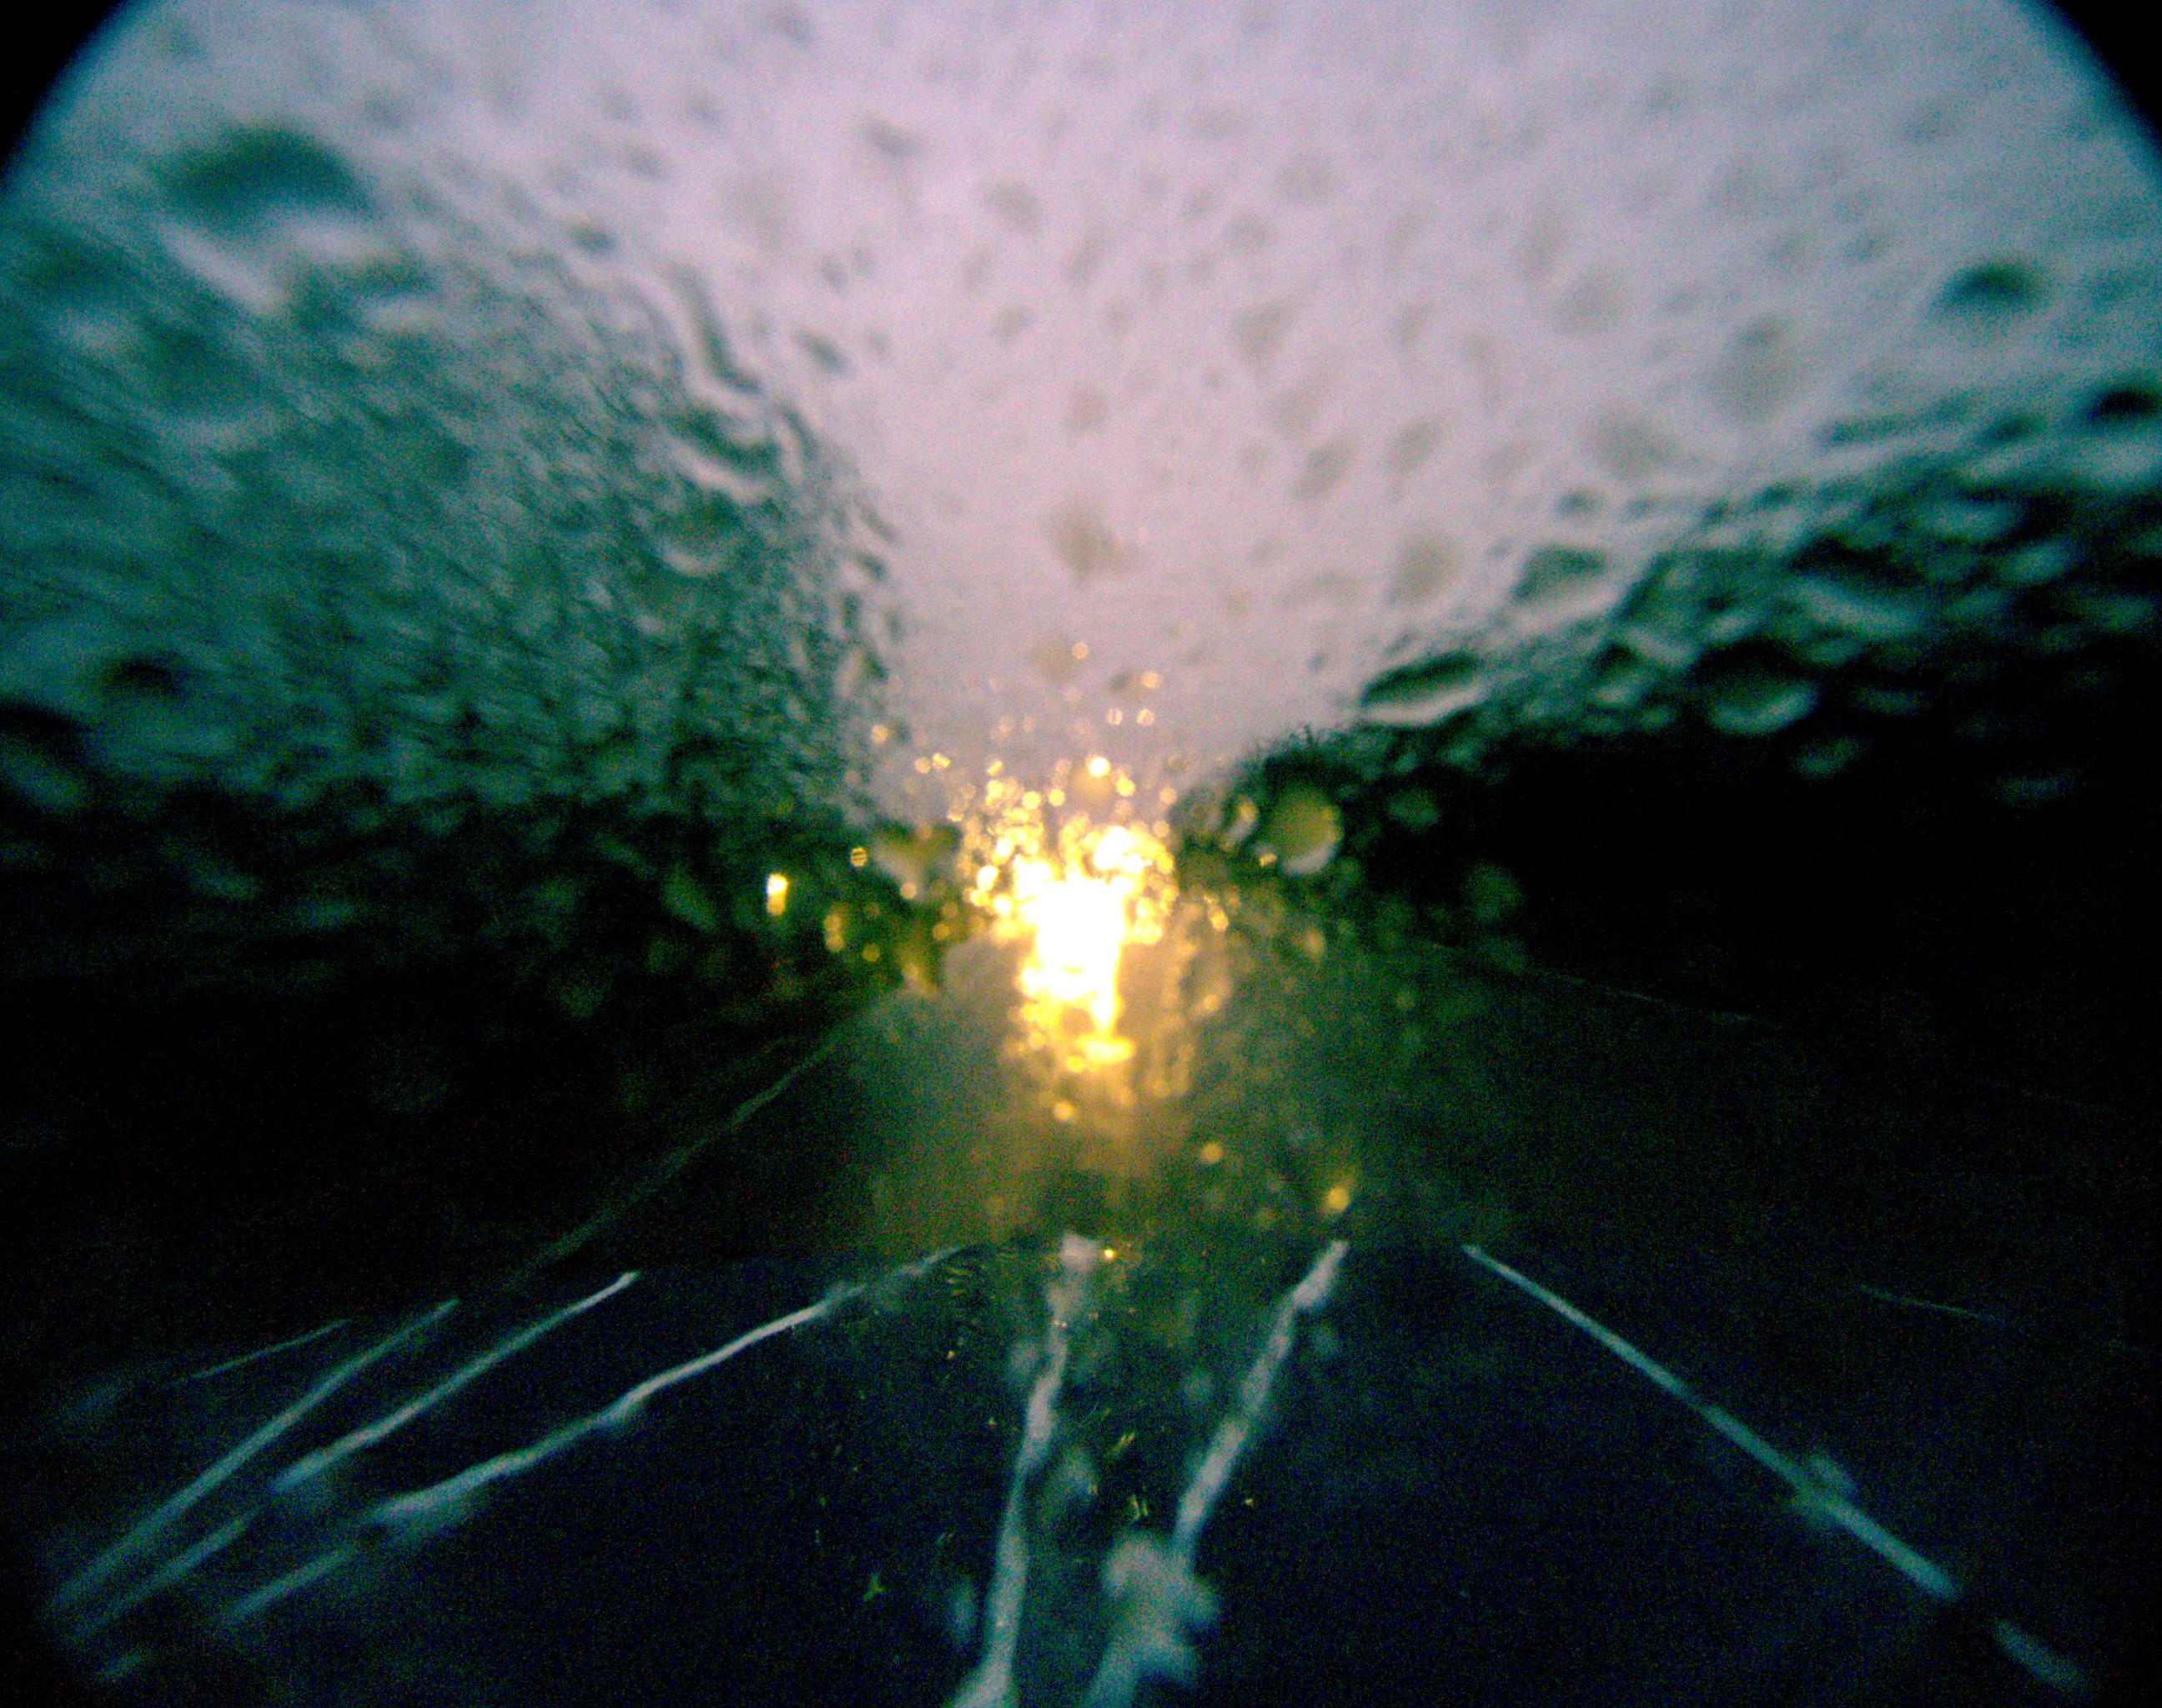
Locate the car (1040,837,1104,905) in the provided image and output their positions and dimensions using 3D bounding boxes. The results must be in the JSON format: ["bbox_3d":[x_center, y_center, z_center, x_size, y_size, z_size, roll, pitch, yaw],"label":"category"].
[{"bbox_3d":[-0.219,0.554,27.421,1.952,2.195,4.535,-2,0,3],"label":"car"}]
